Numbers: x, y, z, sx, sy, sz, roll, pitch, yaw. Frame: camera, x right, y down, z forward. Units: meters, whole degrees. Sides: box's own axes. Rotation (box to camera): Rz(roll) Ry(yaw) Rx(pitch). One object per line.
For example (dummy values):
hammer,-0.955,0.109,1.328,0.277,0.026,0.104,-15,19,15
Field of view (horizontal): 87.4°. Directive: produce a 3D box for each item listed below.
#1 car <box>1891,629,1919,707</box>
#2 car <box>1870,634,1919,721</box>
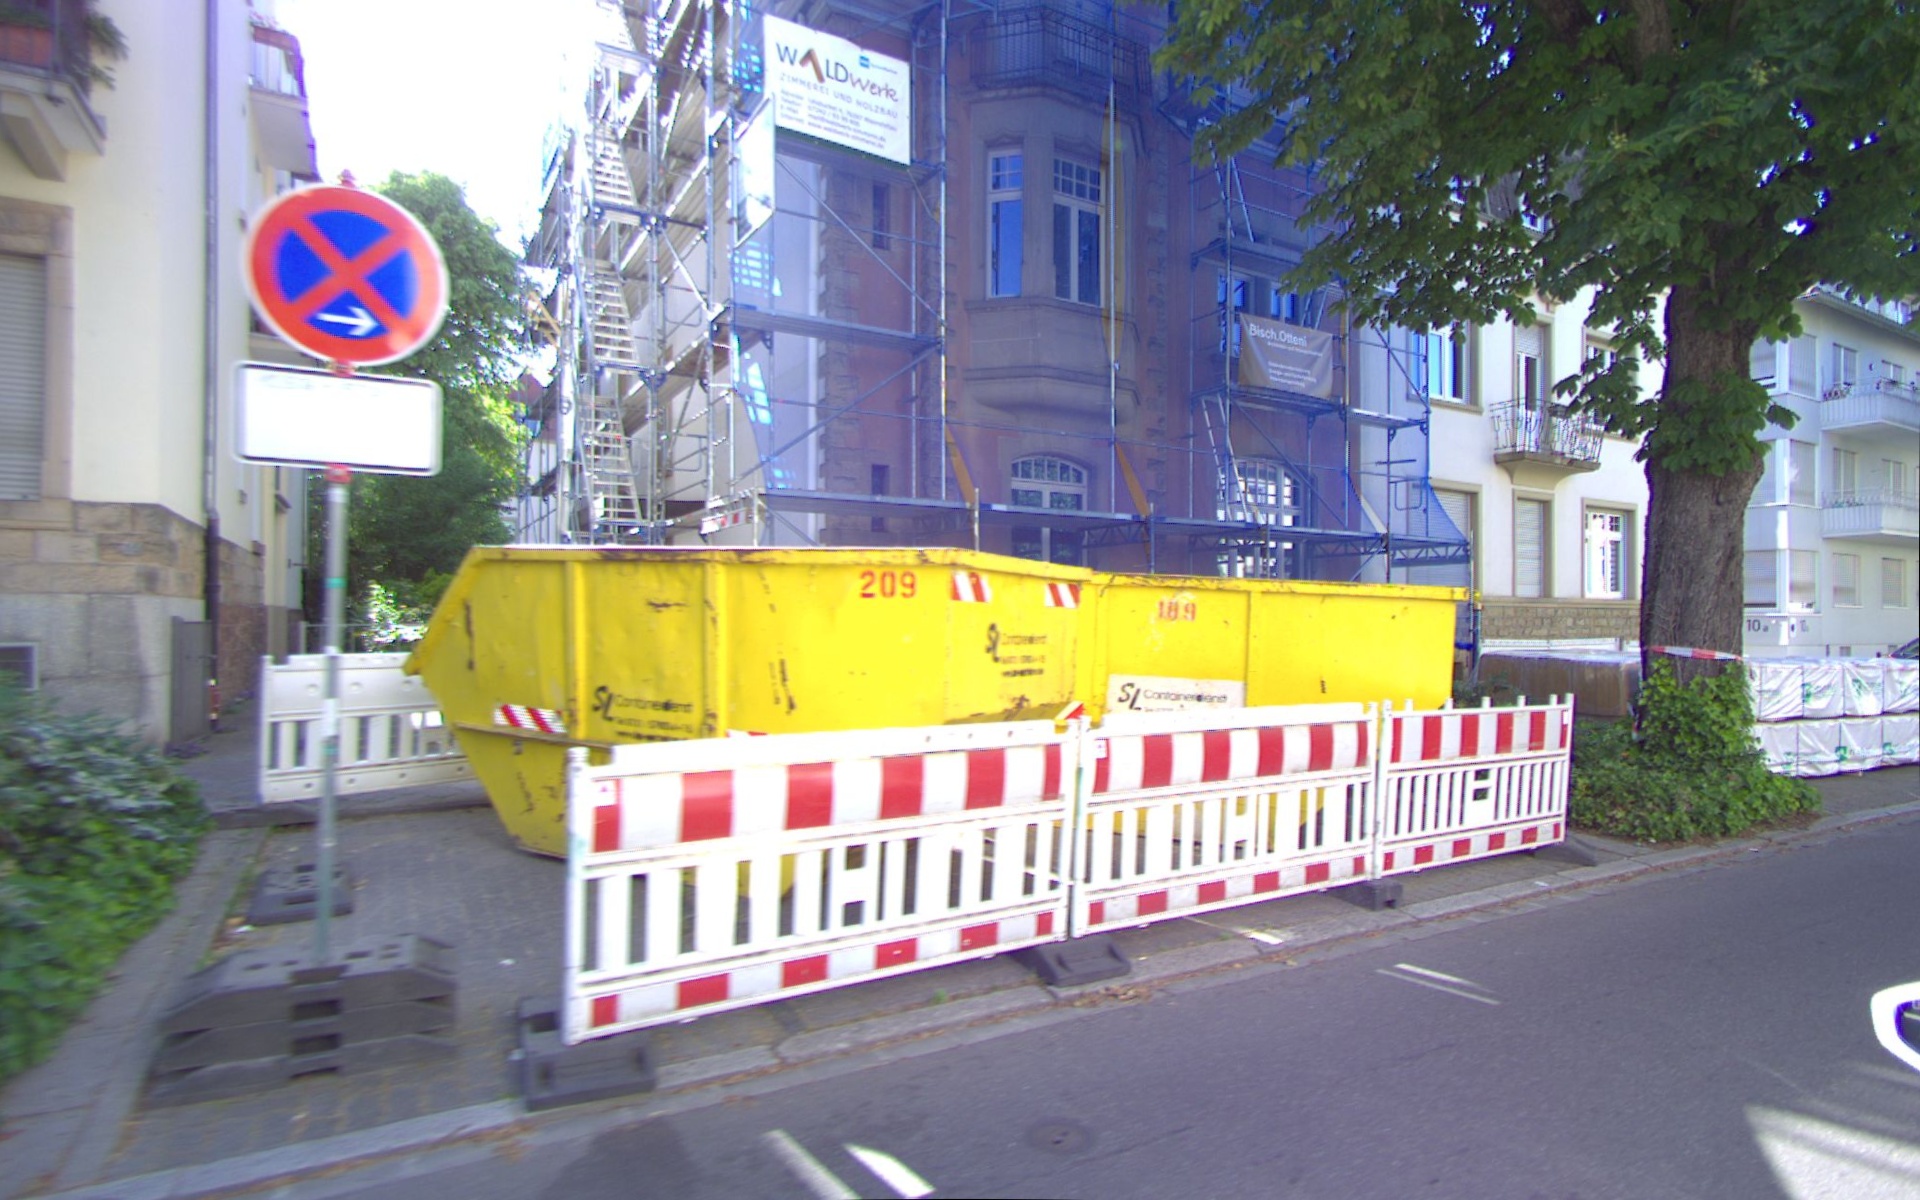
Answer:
car,21.899,1.383,20.125,1.817,1.628,4.553,1,-2,-39
car,18.610,1.367,17.501,1.817,1.534,3.840,1,-2,-39
